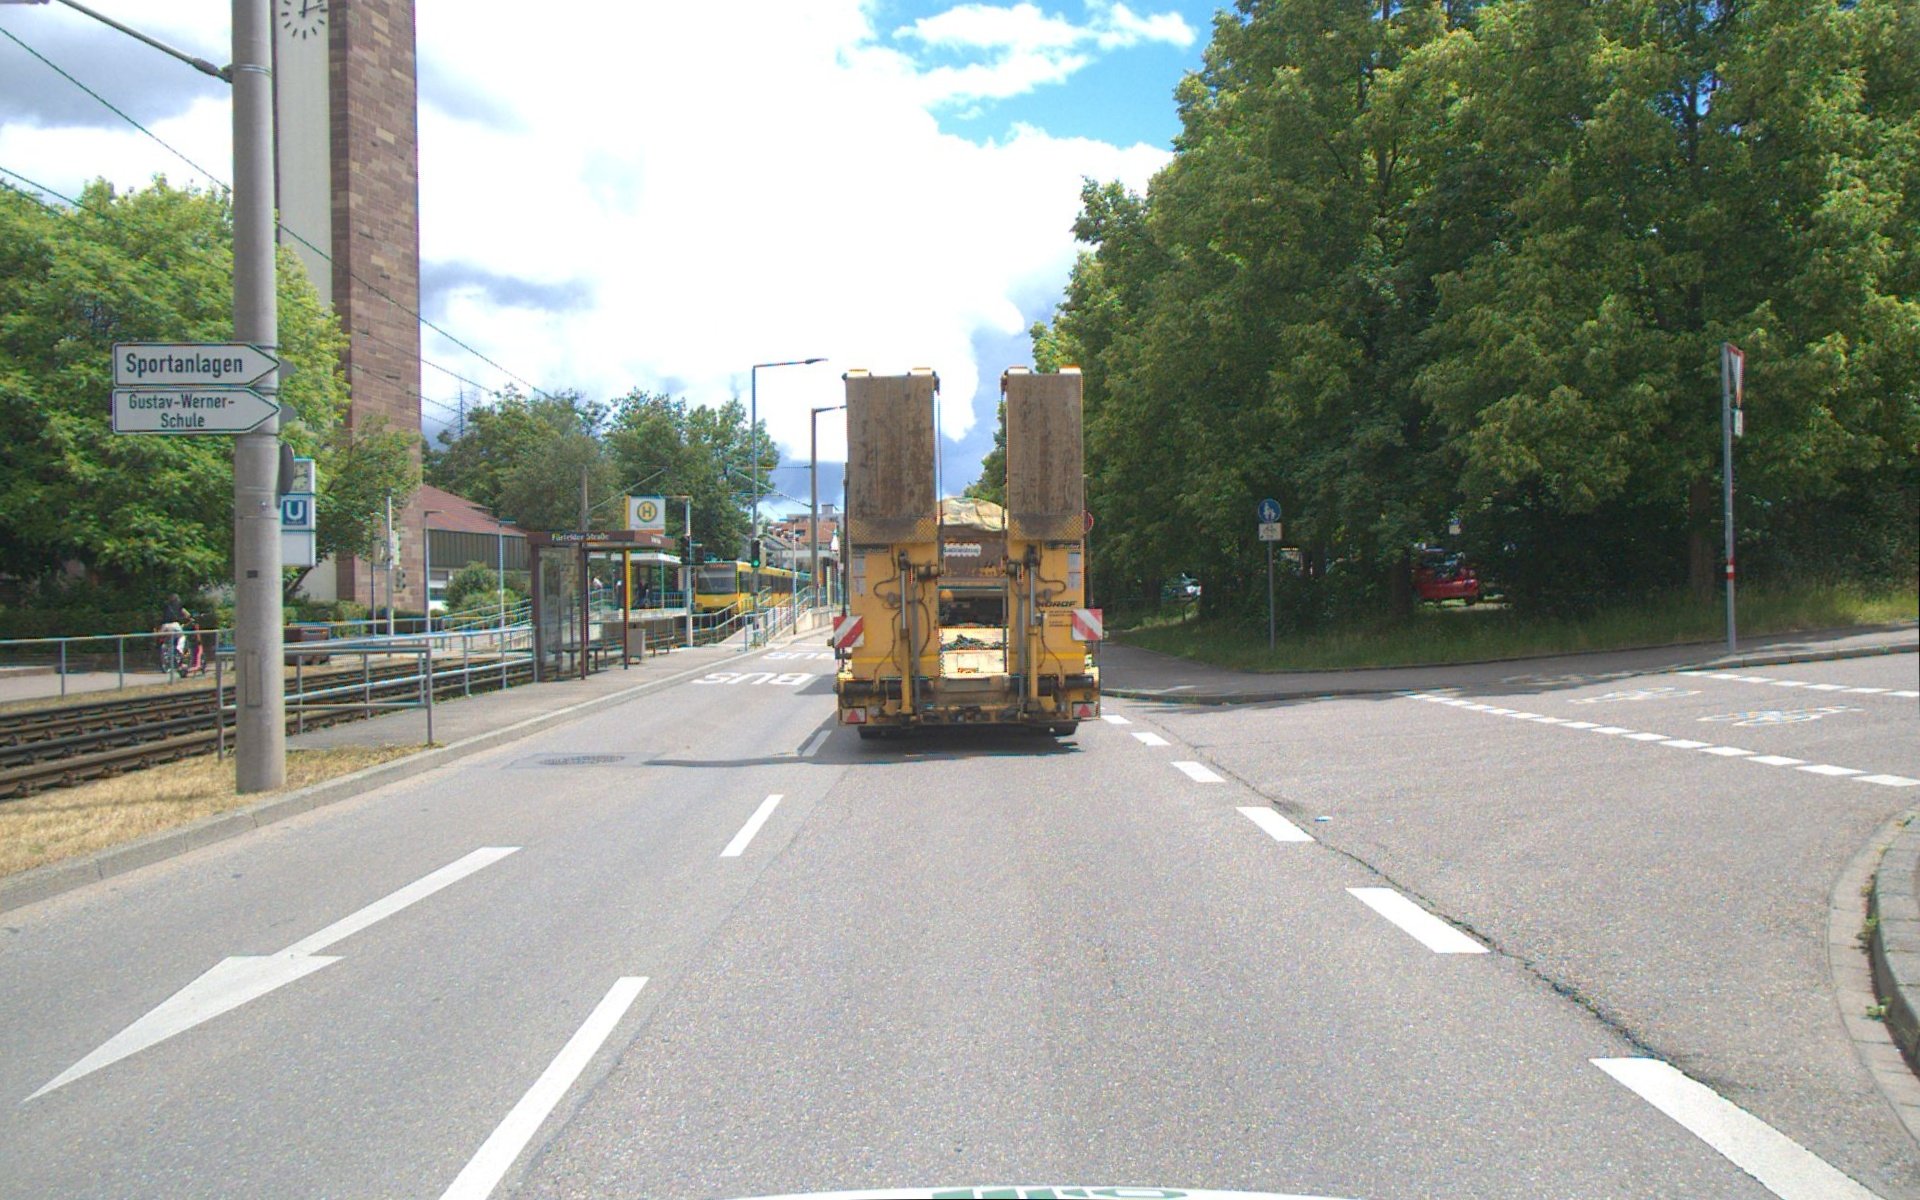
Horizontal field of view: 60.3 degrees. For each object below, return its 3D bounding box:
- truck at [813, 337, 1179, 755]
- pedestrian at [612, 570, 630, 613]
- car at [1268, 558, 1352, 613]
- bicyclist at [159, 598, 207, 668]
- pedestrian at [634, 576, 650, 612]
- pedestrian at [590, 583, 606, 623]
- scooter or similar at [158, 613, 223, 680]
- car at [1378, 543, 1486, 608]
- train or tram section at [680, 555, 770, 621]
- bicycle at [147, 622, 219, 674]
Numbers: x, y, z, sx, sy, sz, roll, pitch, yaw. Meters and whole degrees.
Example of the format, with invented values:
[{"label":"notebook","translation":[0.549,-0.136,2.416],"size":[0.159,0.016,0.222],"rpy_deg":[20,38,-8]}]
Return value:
[{"label":"truck","translation":[-0.077,-0.505,22.000],"size":[3.335,3.797,13.728],"rpy_deg":[-1,0,-4]},{"label":"pedestrian","translation":[-16.324,-0.386,79.595],"size":[0.698,2.049,0.731],"rpy_deg":[1,0,-3]},{"label":"car","translation":[10.885,-0.428,51.687],"size":[1.594,1.540,4.137],"rpy_deg":[-4,0,-1]},{"label":"bicyclist","translation":[-16.295,0.682,34.701],"size":[0.620,1.454,0.790],"rpy_deg":[1,0,-1]},{"label":"pedestrian","translation":[-15.596,-0.275,81.099],"size":[0.626,1.737,0.645],"rpy_deg":[1,0,-1]},{"label":"pedestrian","translation":[-16.465,0.134,75.256],"size":[0.572,1.809,0.576],"rpy_deg":[1,0,-1]},{"label":"scooter or similar","translation":[-15.286,0.907,32.892],"size":[0.636,1.258,1.401],"rpy_deg":[1,1,-1]},{"label":"car","translation":[12.261,-0.619,43.133],"size":[1.627,1.526,3.662],"rpy_deg":[-3,0,-1]},{"label":"train or tram section","translation":[-13.776,-0.621,98.660],"size":[3.045,3.525,18.820],"rpy_deg":[1,0,-1]},{"label":"bicycle","translation":[-16.232,0.993,34.601],"size":[0.624,1.011,1.928],"rpy_deg":[1,0,-1]}]
